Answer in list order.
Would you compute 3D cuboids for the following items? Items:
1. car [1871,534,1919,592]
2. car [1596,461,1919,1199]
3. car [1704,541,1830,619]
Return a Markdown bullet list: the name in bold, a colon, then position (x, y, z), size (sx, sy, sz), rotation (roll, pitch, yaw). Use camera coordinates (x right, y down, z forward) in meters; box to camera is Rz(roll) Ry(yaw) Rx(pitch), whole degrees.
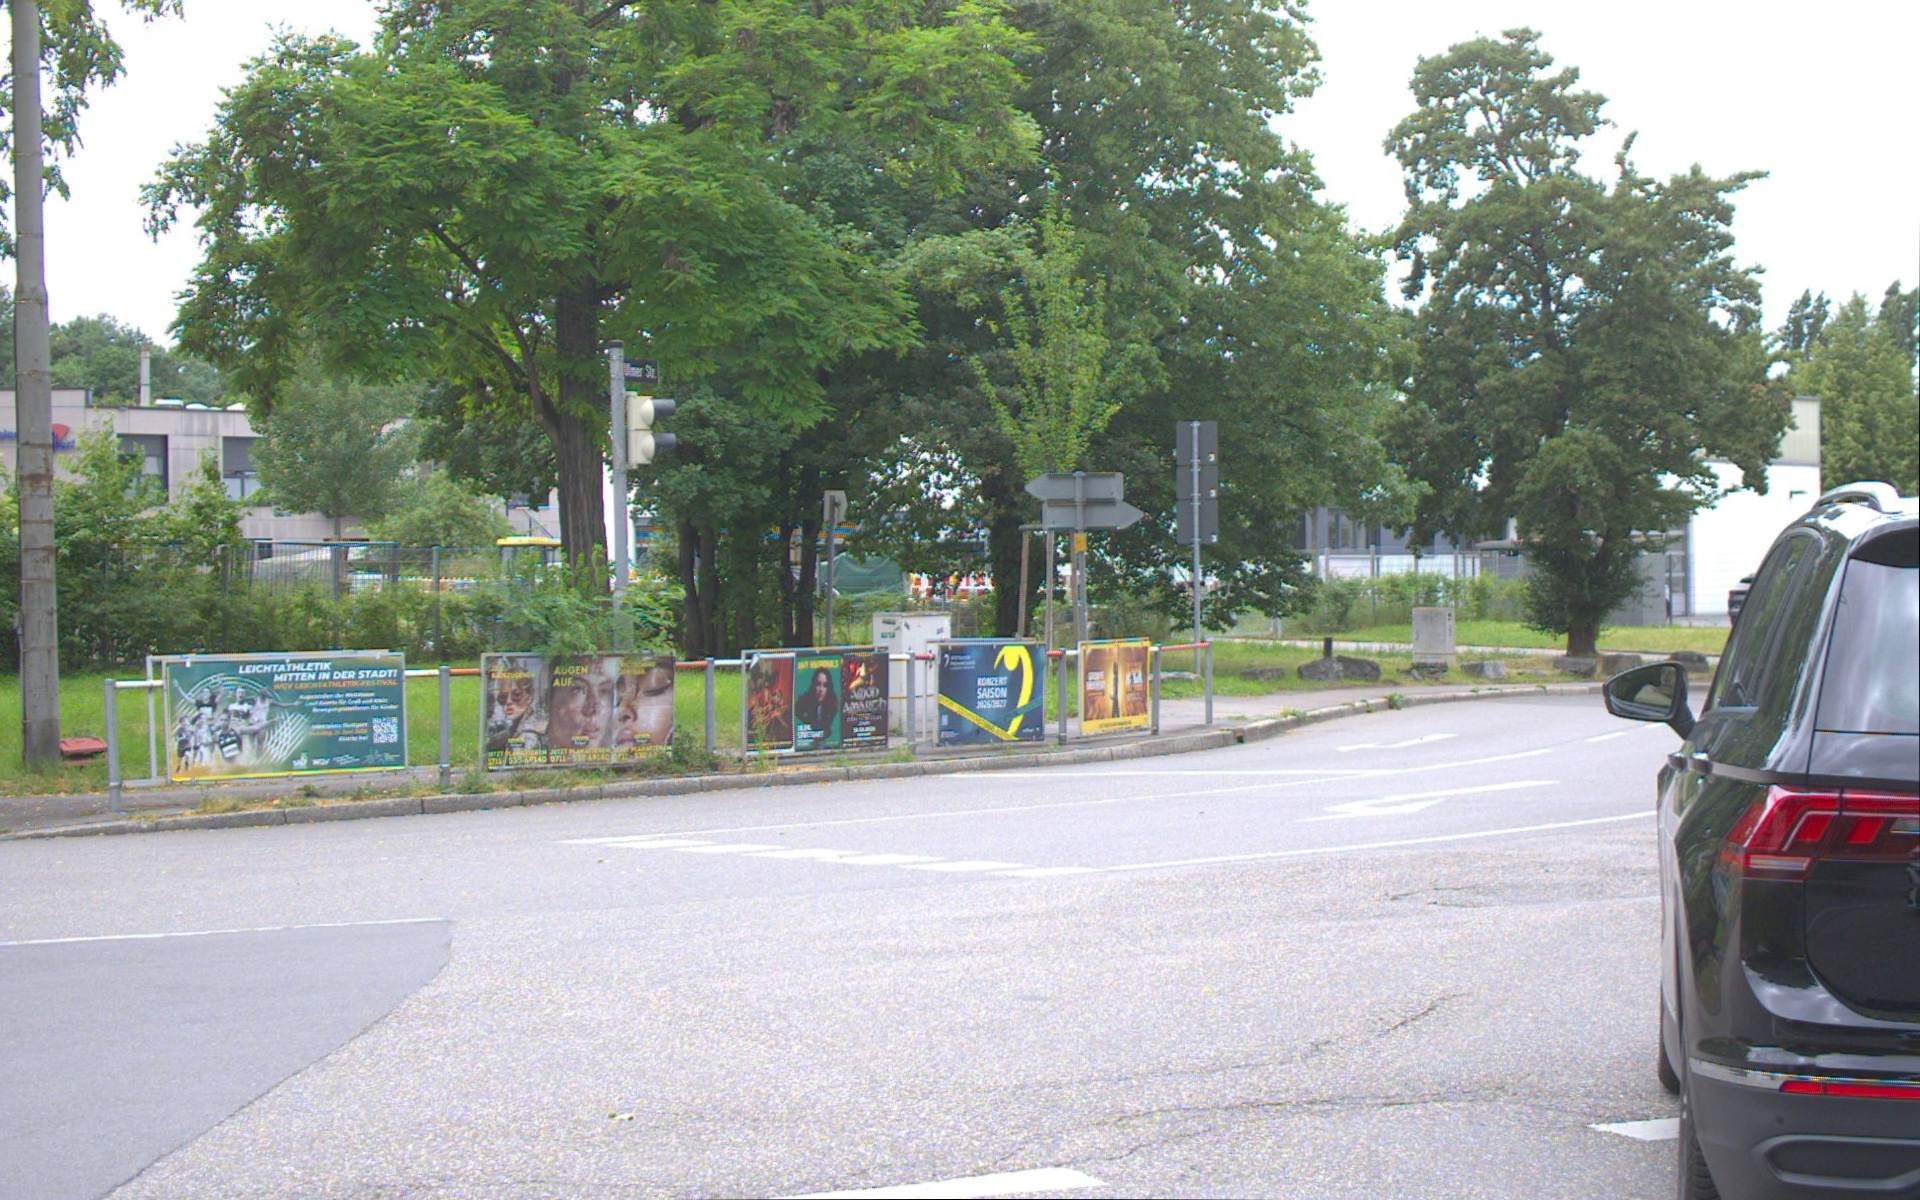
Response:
- **car**: position (33.698, -1.295, 120.895), size (1.967, 2.007, 4.211), rotation (1, 1, 33)
- **car**: position (2.414, 0.555, 7.652), size (1.844, 1.630, 4.184), rotation (1, 1, 9)
- **car**: position (21.637, -0.549, 92.106), size (1.967, 2.007, 4.211), rotation (1, 1, 33)
